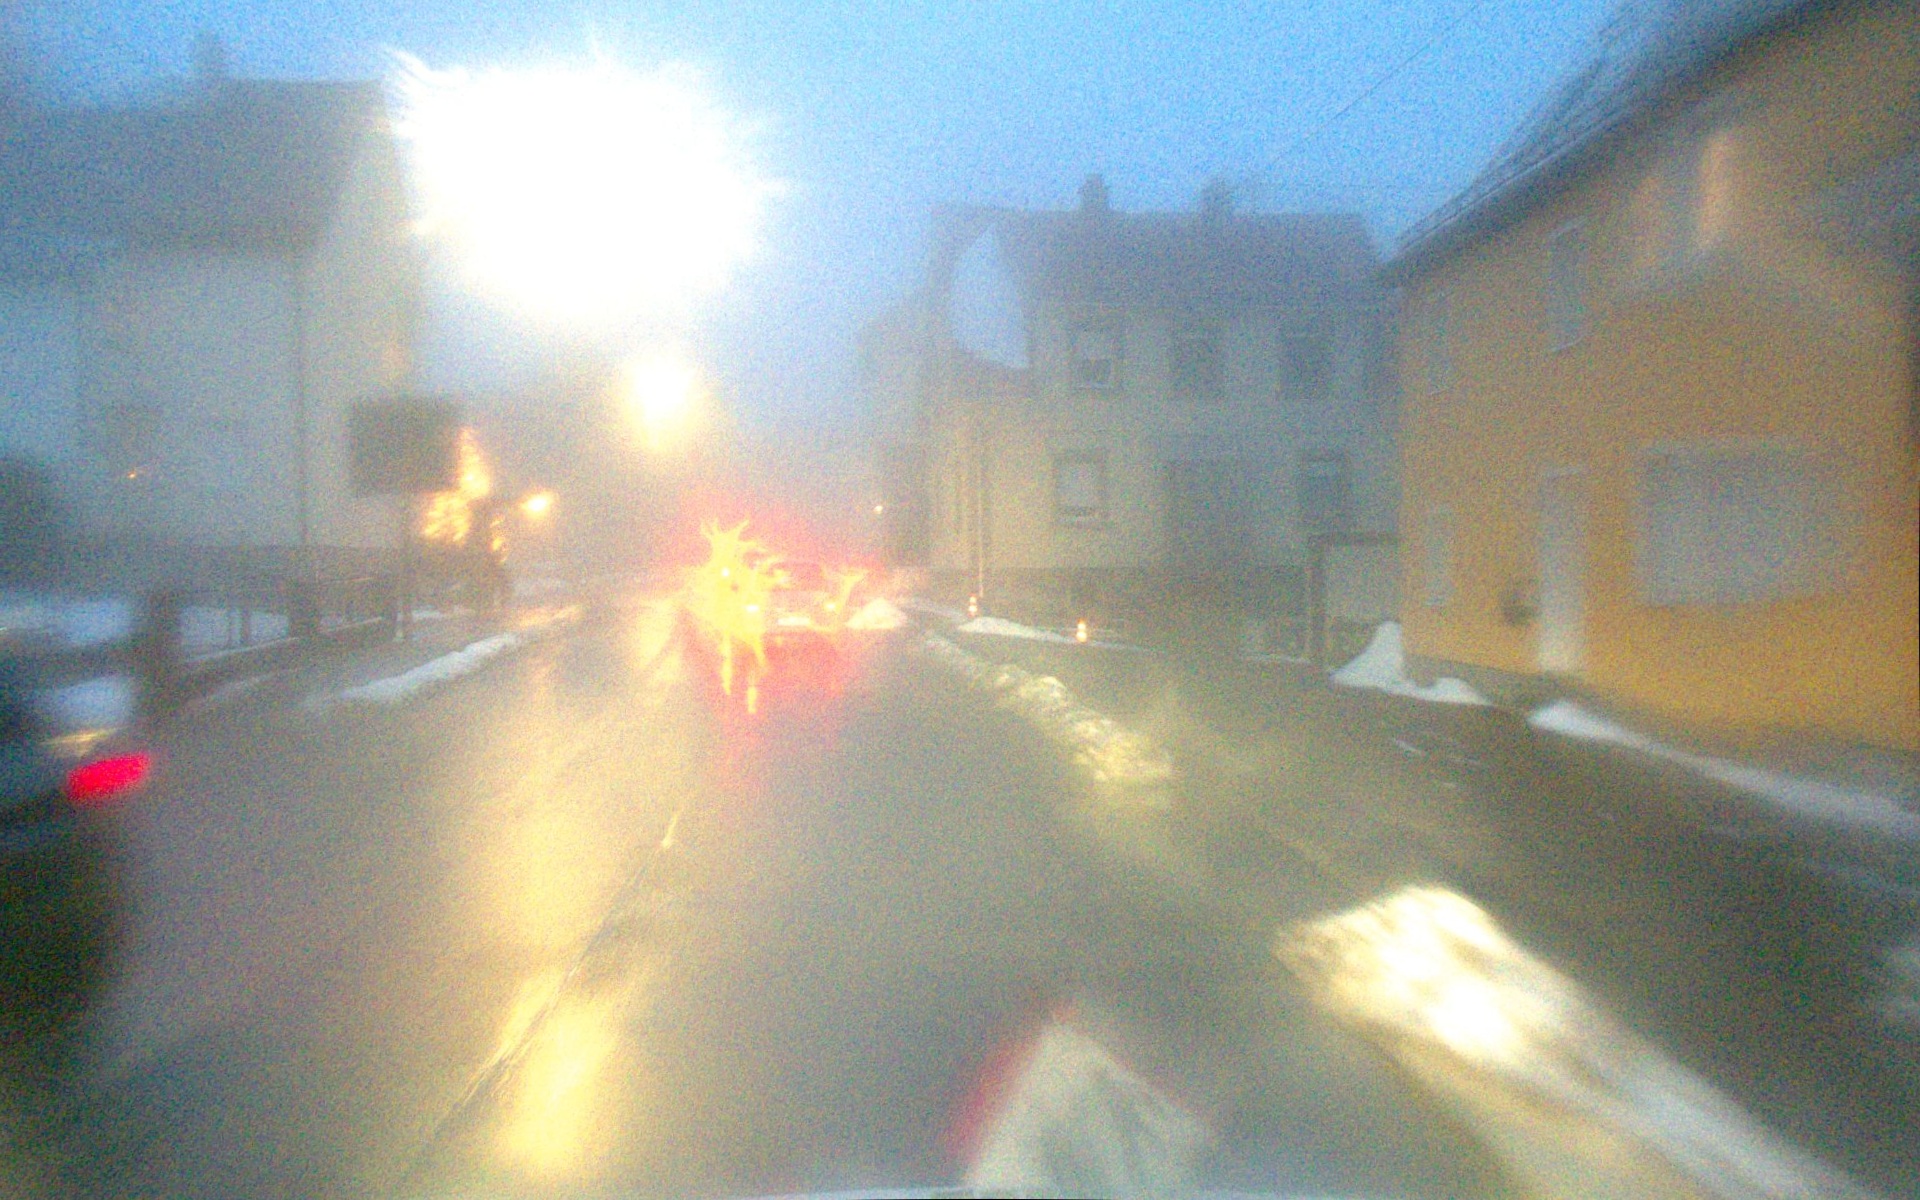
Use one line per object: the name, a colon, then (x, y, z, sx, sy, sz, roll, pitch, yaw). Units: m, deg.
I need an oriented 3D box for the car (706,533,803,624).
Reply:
car: (-5.081, -0.477, 41.328, 1.953, 2.049, 3.998, 3, -1, -2)

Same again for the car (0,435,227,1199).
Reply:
car: (-2.994, 0.451, 2.566, 1.804, 1.717, 4.475, 1, -2, -2)

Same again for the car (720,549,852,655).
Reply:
car: (-2.898, 0.072, 27.488, 1.955, 1.534, 3.994, 3, -1, -6)
